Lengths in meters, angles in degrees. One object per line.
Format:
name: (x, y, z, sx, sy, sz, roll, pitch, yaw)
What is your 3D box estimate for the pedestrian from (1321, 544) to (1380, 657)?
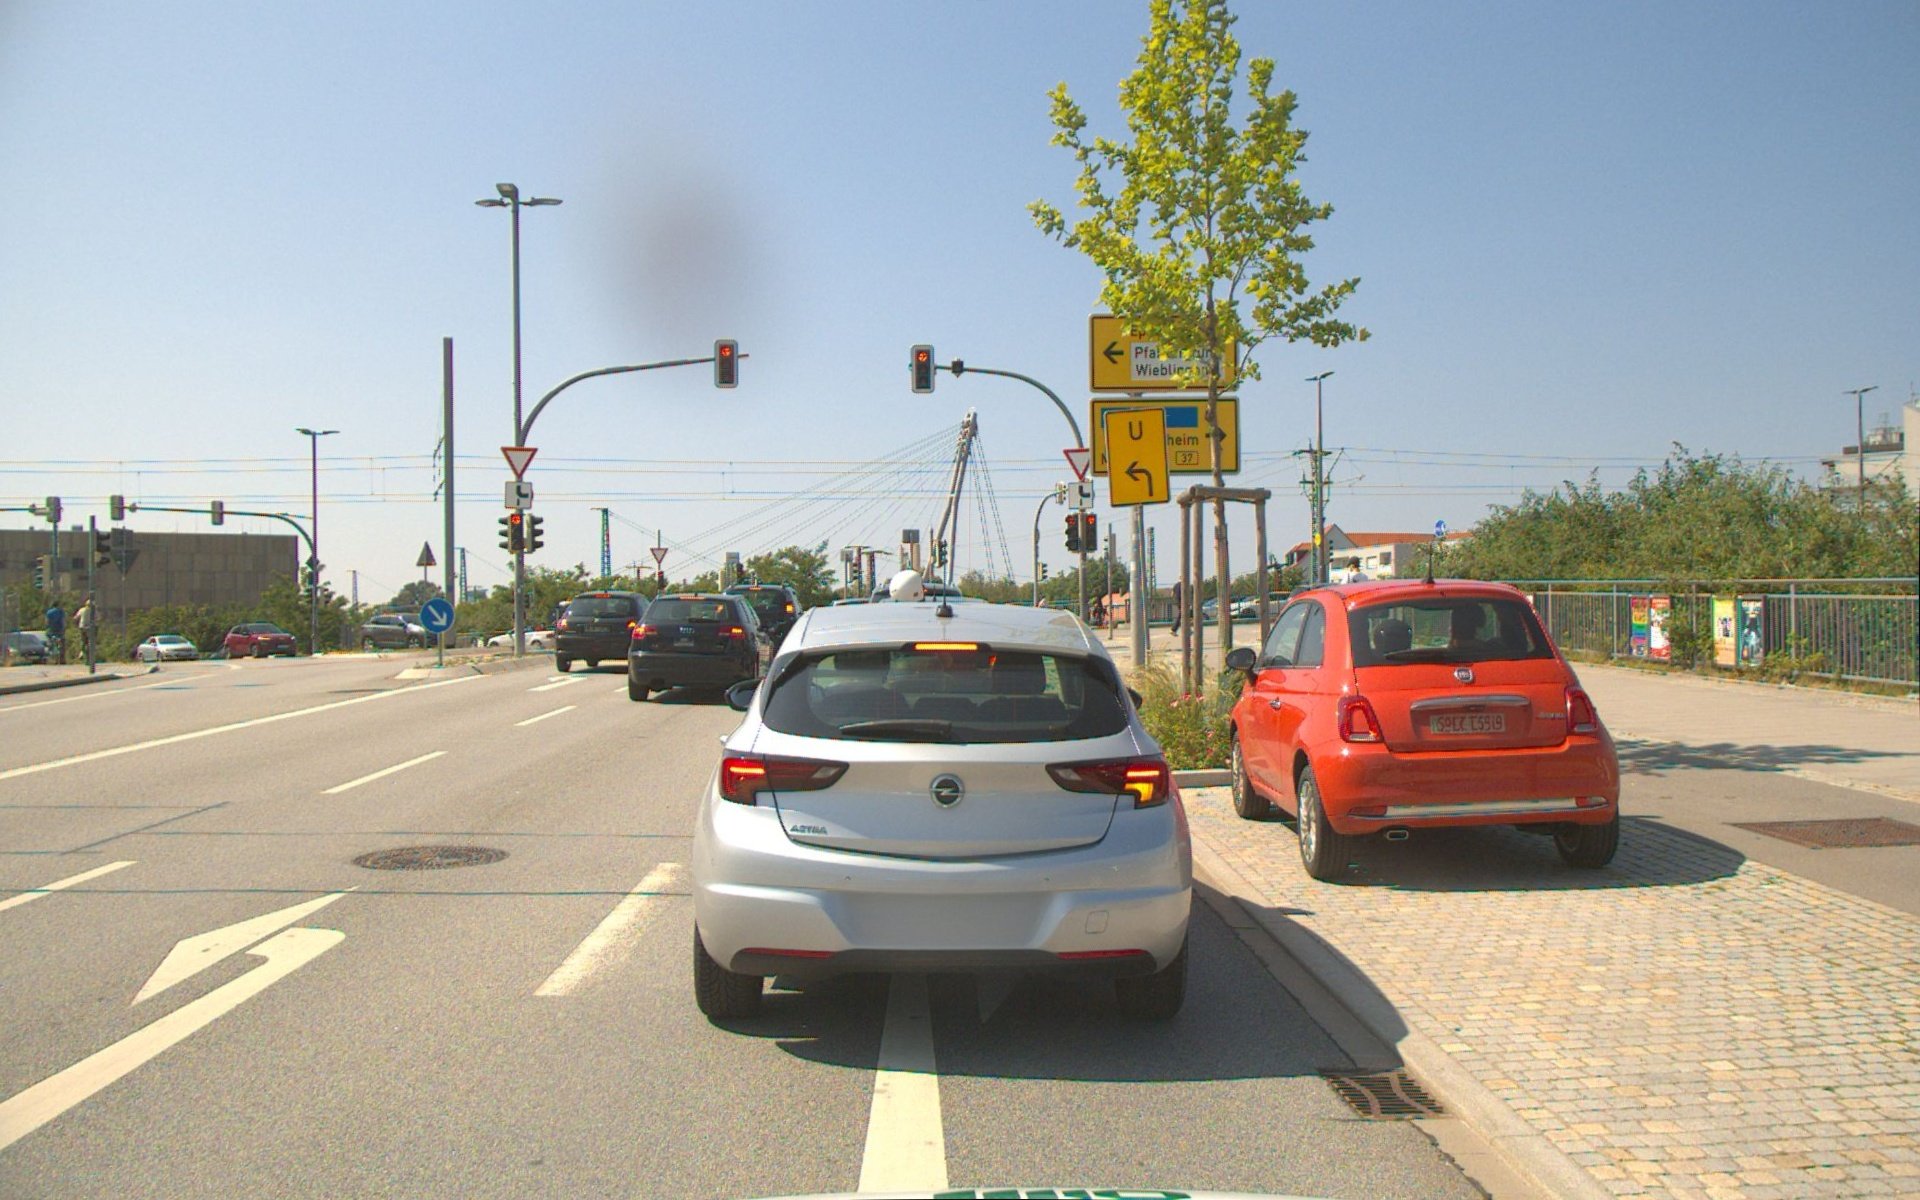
pedestrian: (6.565, 0.010, 27.840, 0.743, 1.862, 0.884, 1, -1, -1)

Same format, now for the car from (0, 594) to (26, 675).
car: (-25.674, 0.854, 43.396, 1.656, 2.049, 3.952, 2, -1, -34)

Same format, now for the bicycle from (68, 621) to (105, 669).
bicycle: (-22.269, 1.139, 42.194, 0.666, 1.147, 2.347, 2, -1, -24)

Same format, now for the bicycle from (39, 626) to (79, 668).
bicycle: (-25.804, 1.323, 47.329, 0.720, 1.154, 2.502, 3, -3, -34)

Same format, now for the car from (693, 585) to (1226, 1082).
car: (-0.049, 0.736, 7.309, 1.656, 1.546, 4.269, 0, 0, -1)

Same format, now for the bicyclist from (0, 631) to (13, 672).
bicyclist: (-28.744, 1.539, 49.231, 0.644, 1.196, 0.730, -2, -1, 27)

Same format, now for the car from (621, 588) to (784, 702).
car: (-3.531, 0.605, 23.306, 1.671, 1.437, 3.999, 1, -1, -1)

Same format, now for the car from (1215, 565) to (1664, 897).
car: (2.645, 0.615, 10.049, 1.635, 1.566, 3.917, -2, 1, 1)

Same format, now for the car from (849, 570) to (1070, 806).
car: (-0.050, 0.676, 14.110, 1.602, 1.703, 3.743, 1, -1, -2)

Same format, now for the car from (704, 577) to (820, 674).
car: (-3.724, 0.481, 31.655, 1.767, 1.650, 3.915, -3, -1, -2)

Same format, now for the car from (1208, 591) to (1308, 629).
car: (13.940, 0.488, 77.394, 4.180, 1.703, 1.990, 1, -1, -18)

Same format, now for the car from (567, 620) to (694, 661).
car: (-12.805, 1.571, 64.302, 4.377, 1.481, 2.001, 1, -1, 17)

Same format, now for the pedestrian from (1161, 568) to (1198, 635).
pedestrian: (6.371, 0.050, 47.974, 0.732, 1.896, 0.746, 2, -1, -30)

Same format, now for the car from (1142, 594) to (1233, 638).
car: (11.022, 0.771, 80.181, 3.929, 2.049, 1.988, 2, -1, -21)

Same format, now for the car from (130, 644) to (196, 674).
car: (-39.224, 2.881, 81.385, 3.651, 1.356, 1.760, 0, -1, 44)

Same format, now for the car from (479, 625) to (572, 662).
car: (-21.067, 2.076, 80.167, 4.112, 1.674, 1.832, 1, -1, 25)

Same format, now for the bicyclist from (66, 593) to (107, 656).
bicyclist: (-22.309, 0.621, 42.267, 0.809, 1.596, 0.941, 2, -1, -24)

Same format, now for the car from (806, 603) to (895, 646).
car: (-3.874, 0.876, 59.042, 3.080, 1.464, 1.585, 1, -1, -2)

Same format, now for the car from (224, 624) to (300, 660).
car: (-31.113, 1.874, 73.678, 3.930, 1.481, 1.674, 1, -1, 43)

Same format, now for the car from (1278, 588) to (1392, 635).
car: (14.048, 0.437, 62.032, 3.752, 1.657, 1.849, 1, -1, -15)

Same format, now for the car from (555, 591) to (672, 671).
car: (-6.398, 0.565, 30.803, 1.555, 1.419, 3.338, 0, -1, -2)

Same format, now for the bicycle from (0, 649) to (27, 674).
bicycle: (-28.754, 1.813, 49.334, 2.203, 0.704, 0.515, 0, -1, 28)

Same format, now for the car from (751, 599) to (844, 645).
car: (-7.509, 1.014, 76.673, 3.902, 2.049, 2.001, -1, -1, 7)

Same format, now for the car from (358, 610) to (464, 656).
car: (-22.495, 1.358, 67.711, 4.117, 1.771, 1.716, 1, -1, 27)

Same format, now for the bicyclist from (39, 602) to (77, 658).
bicyclist: (-25.751, 0.850, 47.218, 0.853, 1.587, 0.815, 2, -1, -35)
